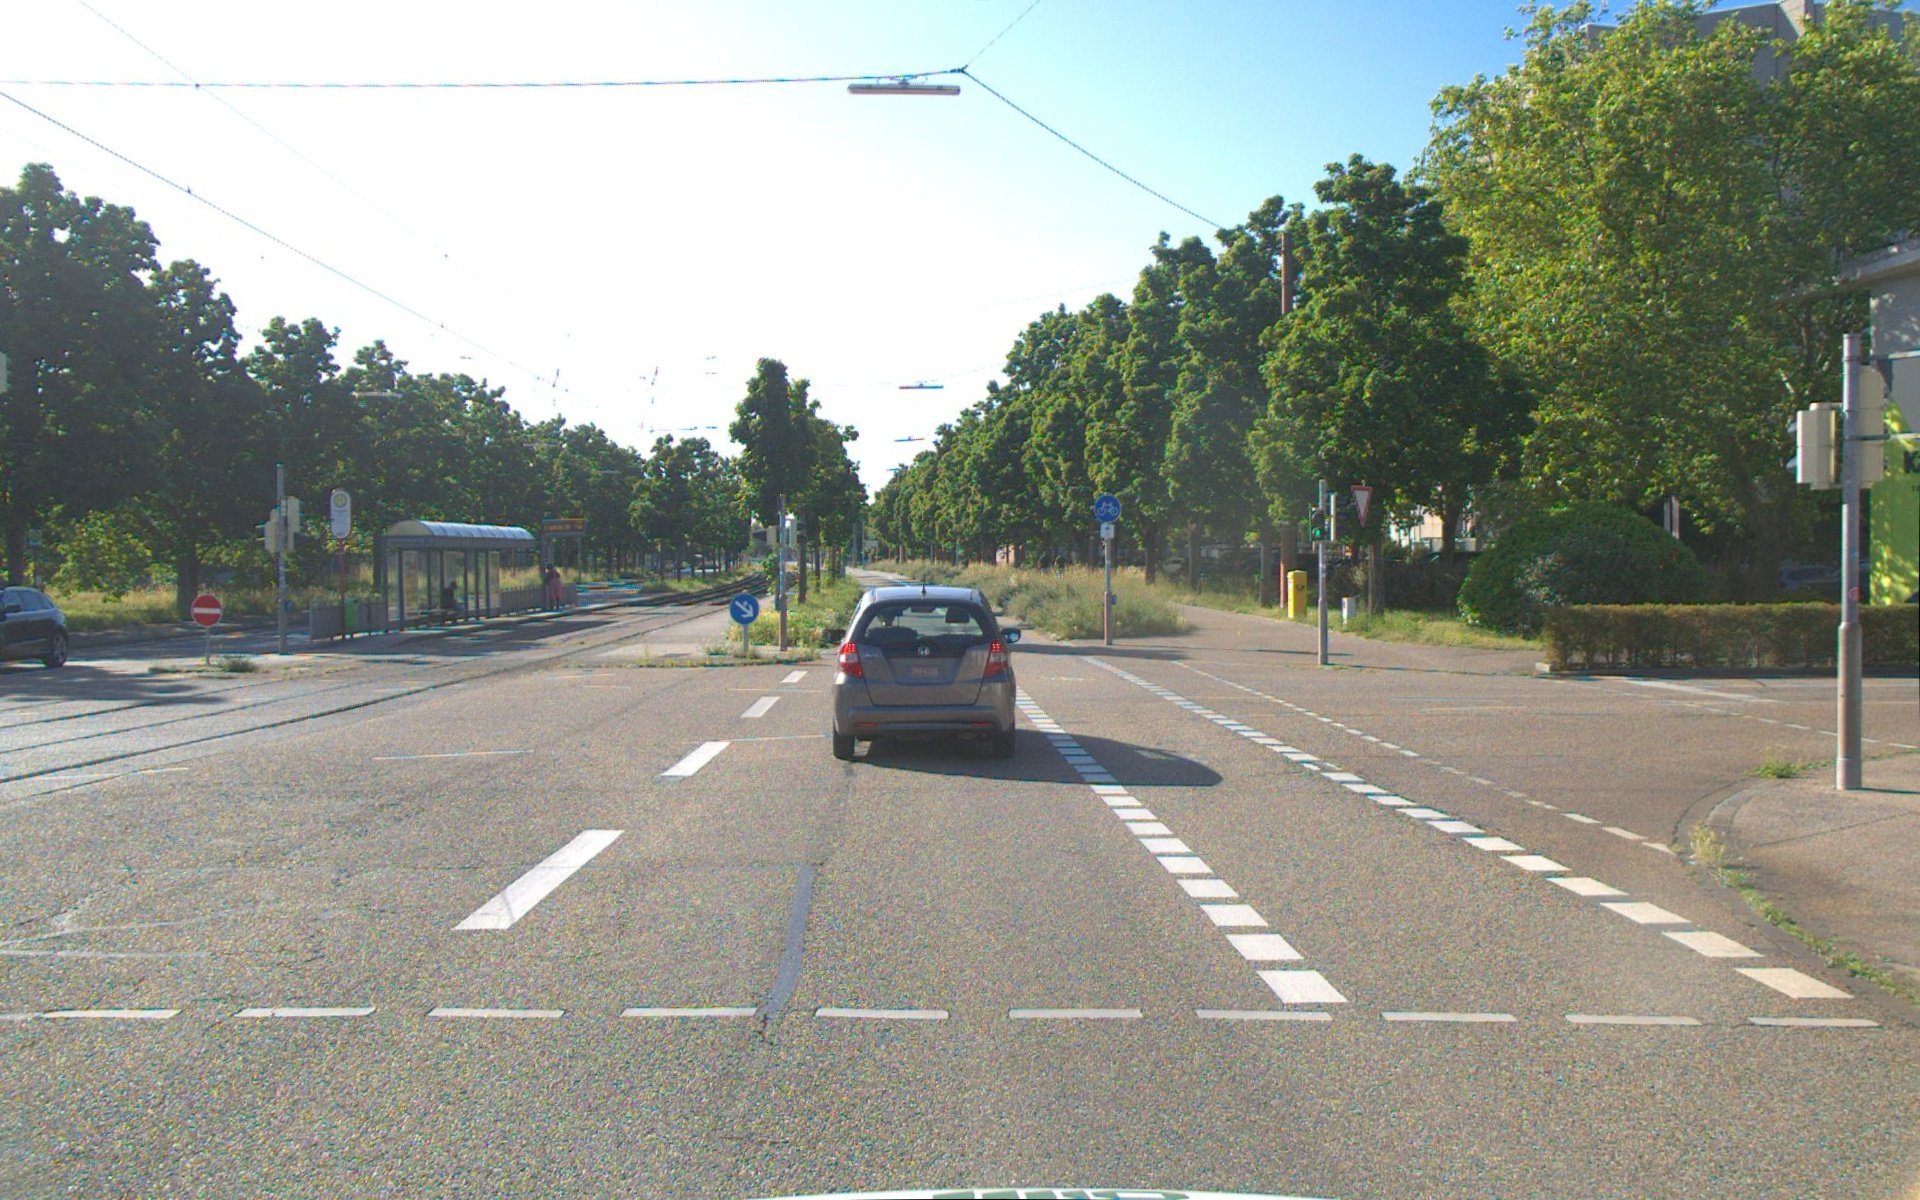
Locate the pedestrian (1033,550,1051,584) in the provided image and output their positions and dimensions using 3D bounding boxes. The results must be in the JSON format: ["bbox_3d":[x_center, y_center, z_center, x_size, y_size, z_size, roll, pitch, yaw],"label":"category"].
[{"bbox_3d":[4.659,-1.892,93.941,0.865,1.917,0.875,-1,1,-5],"label":"pedestrian"}]

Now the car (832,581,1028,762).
[{"bbox_3d":[-0.285,0.610,15.974,1.666,1.550,3.708,0,0,-1],"label":"car"}]

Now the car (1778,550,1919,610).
[{"bbox_3d":[27.013,-0.599,49.368,4.371,1.715,1.892,-1,1,-7],"label":"car"}]

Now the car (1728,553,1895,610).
[{"bbox_3d":[26.709,-0.585,51.927,4.371,1.715,1.892,-1,1,-7],"label":"car"}]

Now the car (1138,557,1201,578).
[{"bbox_3d":[16.321,-2.538,129.097,4.543,1.582,1.997,-1,1,-7],"label":"car"}]

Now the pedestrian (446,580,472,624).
[{"bbox_3d":[-15.013,0.068,49.522,0.552,1.278,0.580,-3,0,-2],"label":"pedestrian"}]

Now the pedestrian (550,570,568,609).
[{"bbox_3d":[-15.540,-0.401,64.074,0.533,1.473,0.559,-1,0,-1],"label":"pedestrian"}]

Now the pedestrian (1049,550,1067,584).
[{"bbox_3d":[5.581,-1.884,93.975,0.865,1.917,0.875,-1,1,-5],"label":"pedestrian"}]

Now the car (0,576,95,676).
[{"bbox_3d":[-19.252,0.529,32.555,2.052,1.841,4.790,-3,2,-3],"label":"car"}]
